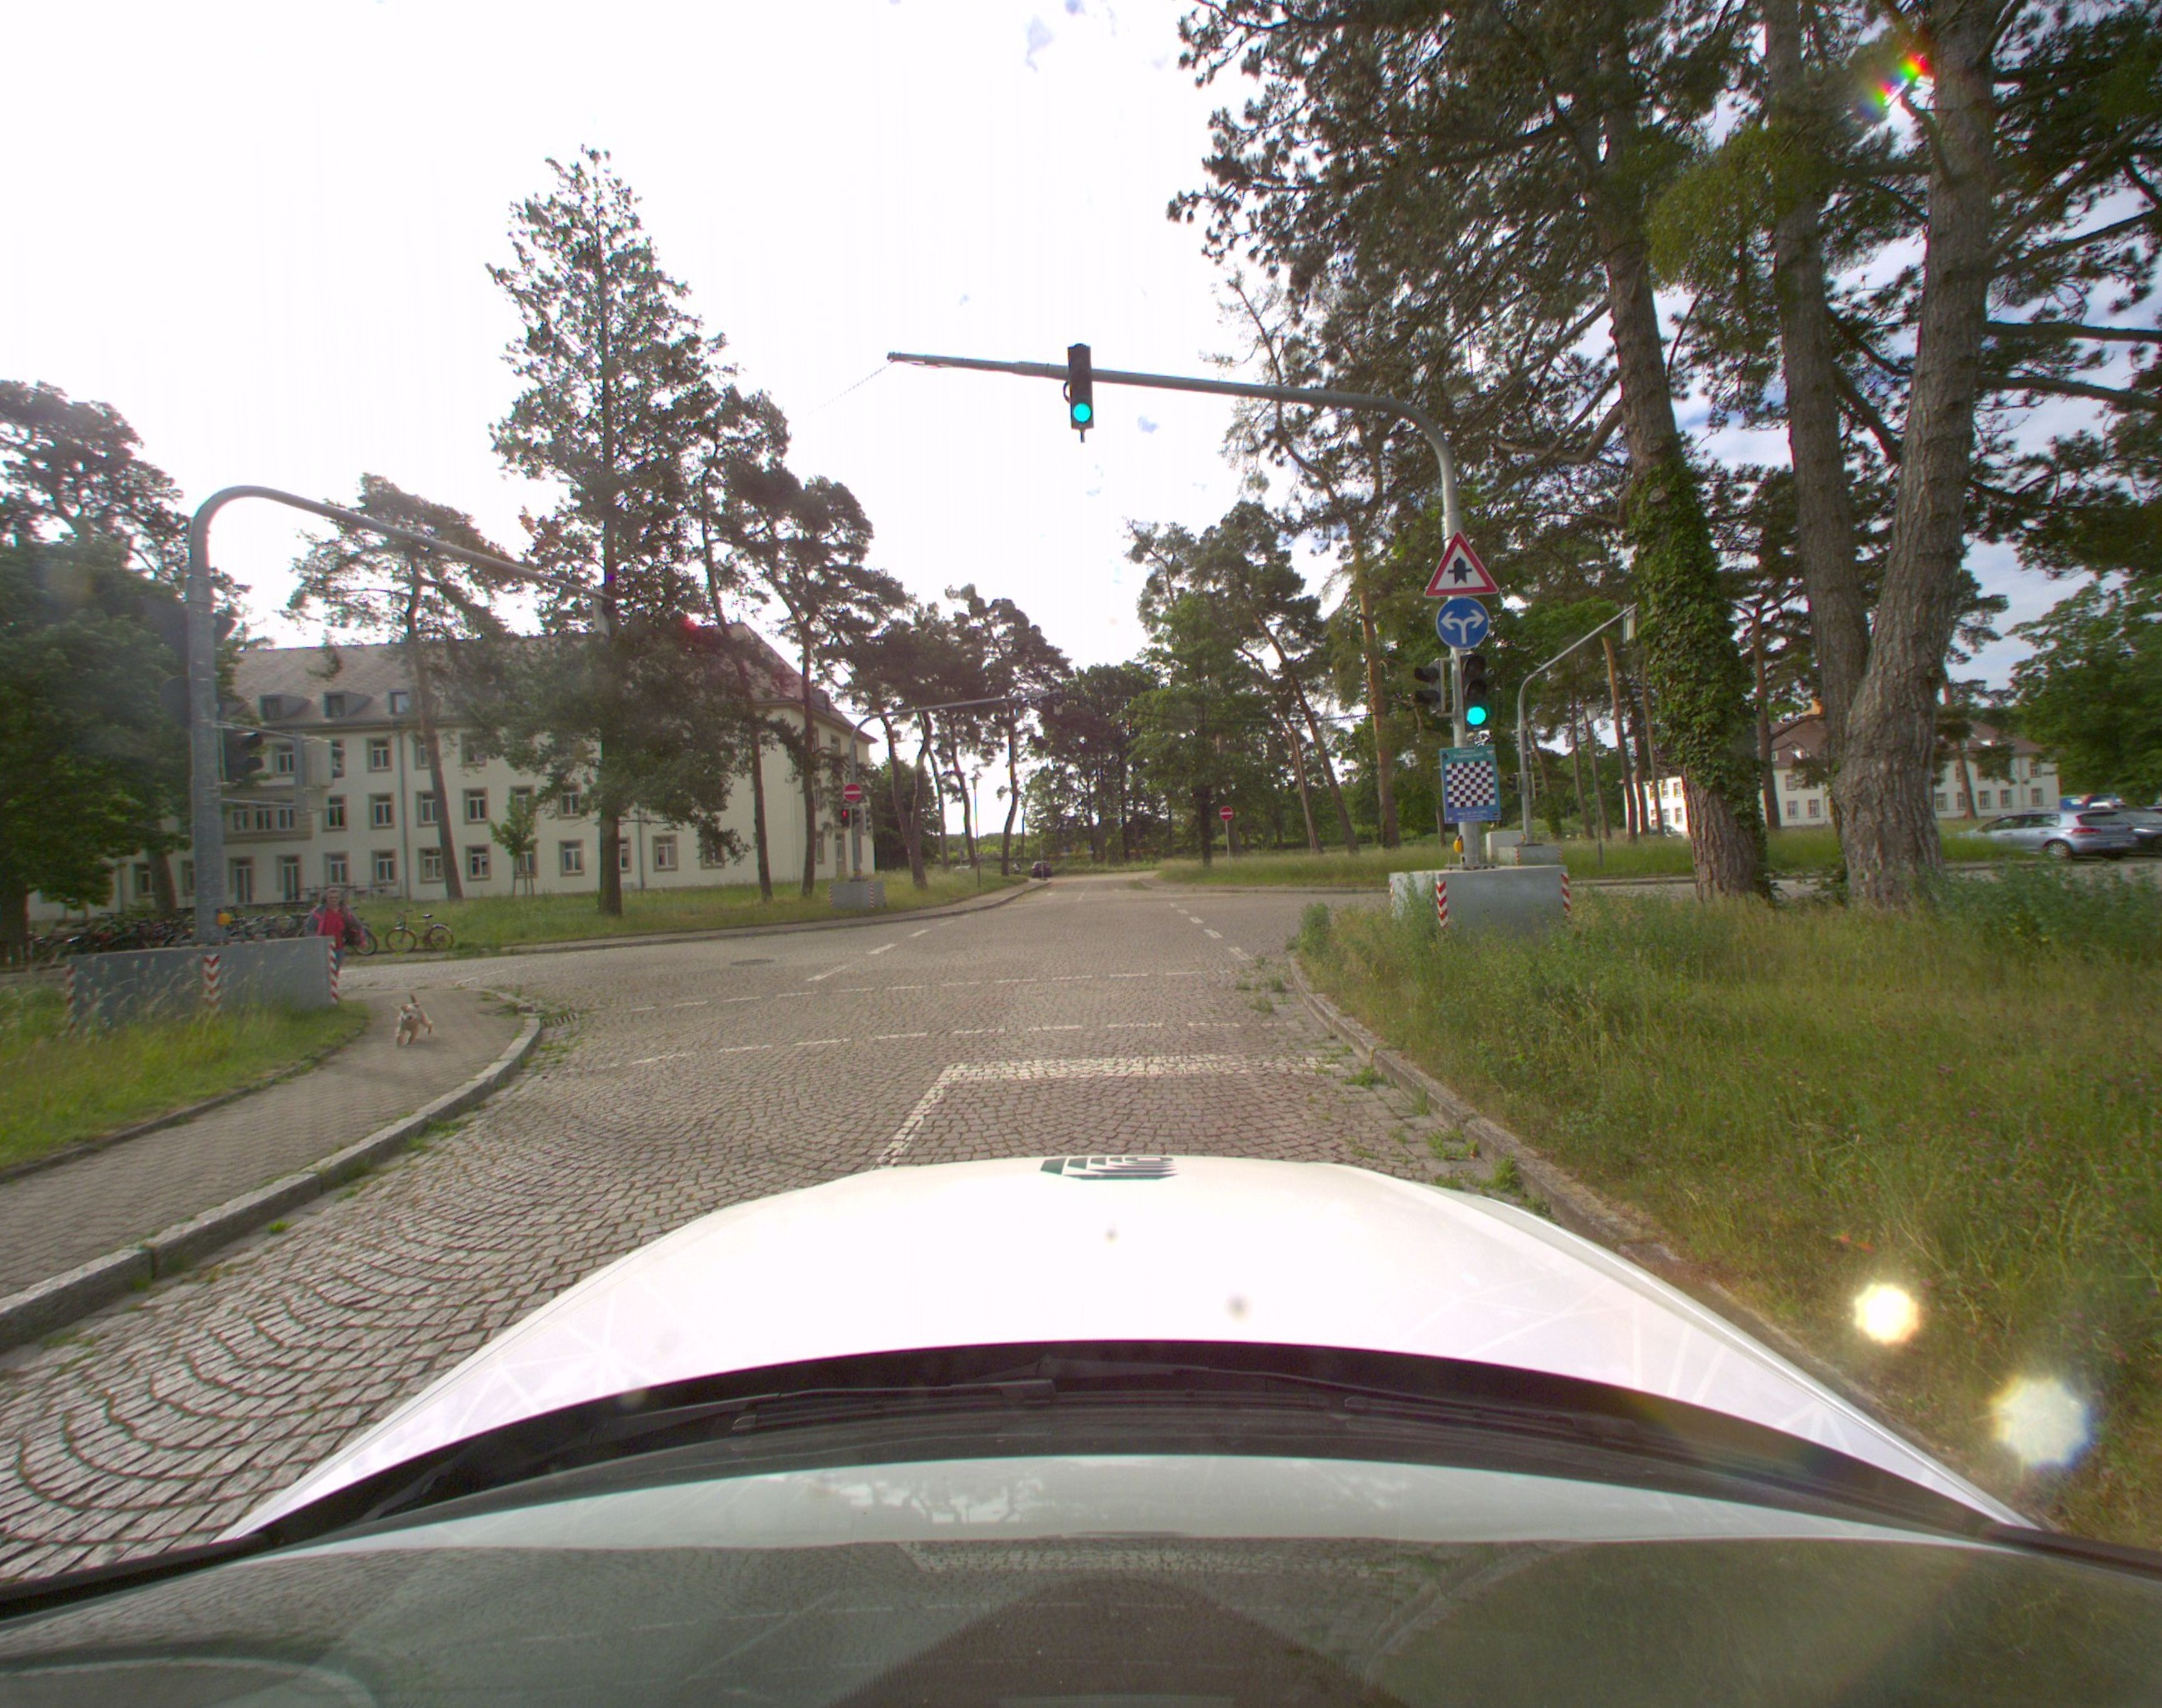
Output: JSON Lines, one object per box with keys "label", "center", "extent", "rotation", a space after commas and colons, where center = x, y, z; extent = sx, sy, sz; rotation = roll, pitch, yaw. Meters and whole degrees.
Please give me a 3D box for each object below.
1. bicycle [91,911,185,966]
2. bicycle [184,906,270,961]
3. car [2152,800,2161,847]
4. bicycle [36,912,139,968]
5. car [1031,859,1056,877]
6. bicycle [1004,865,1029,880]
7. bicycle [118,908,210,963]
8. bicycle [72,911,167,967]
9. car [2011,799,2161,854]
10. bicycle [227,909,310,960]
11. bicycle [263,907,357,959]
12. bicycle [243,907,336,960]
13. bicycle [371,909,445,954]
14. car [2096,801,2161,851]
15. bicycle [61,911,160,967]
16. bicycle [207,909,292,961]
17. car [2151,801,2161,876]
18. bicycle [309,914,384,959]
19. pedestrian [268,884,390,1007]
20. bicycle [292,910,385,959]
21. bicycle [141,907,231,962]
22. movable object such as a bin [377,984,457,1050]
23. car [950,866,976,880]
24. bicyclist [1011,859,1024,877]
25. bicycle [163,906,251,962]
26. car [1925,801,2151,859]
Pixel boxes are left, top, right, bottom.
{"label": "bicycle", "center": [-24.955, 2.207, 21.593], "extent": [0.447, 1.283, 1.695], "rotation": [-3, 0, 0]}
{"label": "bicycle", "center": [-22.709, 2.086, 21.705], "extent": [0.447, 1.283, 1.695], "rotation": [-3, 0, 0]}
{"label": "car", "center": [36.511, -1.066, 24.847], "extent": [1.748, 1.524, 4.445], "rotation": [-3, 0, -2]}
{"label": "bicycle", "center": [-26.373, 2.252, 21.661], "extent": [0.447, 1.283, 1.827], "rotation": [-3, 0, 0]}
{"label": "car", "center": [-3.528, 1.307, 77.313], "extent": [1.985, 1.508, 4.003], "rotation": [-1, 0, 3]}
{"label": "bicycle", "center": [-5.529, 1.579, 69.885], "extent": [1.981, 1.095, 0.809], "rotation": [-3, 0, -3]}
{"label": "bicycle", "center": [-24.293, 2.134, 21.613], "extent": [0.447, 1.283, 1.695], "rotation": [-3, 0, 0]}
{"label": "bicycle", "center": [-25.442, 2.222, 21.586], "extent": [0.447, 1.283, 1.695], "rotation": [-3, 0, 0]}
{"label": "car", "center": [31.320, -0.826, 24.380], "extent": [1.748, 1.524, 4.444], "rotation": [-3, 0, -2]}
{"label": "bicycle", "center": [-21.511, 2.113, 21.605], "extent": [0.447, 1.178, 1.695], "rotation": [-3, 0, 0]}
{"label": "bicycle", "center": [-20.415, 2.067, 21.622], "extent": [0.573, 1.178, 1.954], "rotation": [-3, 0, 0]}
{"label": "bicycle", "center": [-20.998, 2.086, 21.657], "extent": [0.525, 1.178, 1.930], "rotation": [-3, 0, 0]}
{"label": "bicycle", "center": [-16.698, 1.924, 20.219], "extent": [1.453, 0.996, 0.452], "rotation": [-3, -1, 2]}
{"label": "car", "center": [33.972, -0.905, 24.298], "extent": [1.748, 1.524, 4.445], "rotation": [-3, 0, -2]}
{"label": "bicycle", "center": [-25.907, 2.239, 21.789], "extent": [0.441, 1.283, 1.785], "rotation": [-3, 0, 0]}
{"label": "bicycle", "center": [-21.997, 2.116, 21.590], "extent": [0.447, 1.178, 1.695], "rotation": [-3, 0, 0]}
{"label": "car", "center": [21.357, -0.373, 13.326], "extent": [1.748, 1.415, 4.444], "rotation": [-3, -1, -2]}
{"label": "bicycle", "center": [-18.219, 2.051, 20.212], "extent": [1.453, 0.996, 0.452], "rotation": [-3, -1, 2]}
{"label": "pedestrian", "center": [-10.975, 1.320, 11.913], "extent": [0.853, 1.668, 0.944], "rotation": [-3, 0, 17]}
{"label": "bicycle", "center": [-19.717, 2.112, 21.692], "extent": [0.573, 1.078, 1.996], "rotation": [-3, 0, 0]}
{"label": "bicycle", "center": [-23.730, 2.117, 21.631], "extent": [0.447, 1.283, 1.695], "rotation": [-3, 0, 0]}
{"label": "movable object such as a bin", "center": [-6.798, 1.656, 8.364], "extent": [0.445, 0.503, 0.746], "rotation": [-3, 0, -25]}
{"label": "car", "center": [-11.335, 1.853, 78.644], "extent": [1.682, 1.156, 4.003], "rotation": [-3, 0, 3]}
{"label": "bicyclist", "center": [-5.433, 1.222, 69.907], "extent": [0.972, 1.510, 0.807], "rotation": [-3, 0, -2]}
{"label": "bicycle", "center": [-23.214, 2.101, 21.668], "extent": [0.447, 1.283, 1.695], "rotation": [-3, 0, 0]}
{"label": "car", "center": [28.905, -0.662, 24.856], "extent": [1.745, 1.524, 4.451], "rotation": [-3, 0, 3]}
